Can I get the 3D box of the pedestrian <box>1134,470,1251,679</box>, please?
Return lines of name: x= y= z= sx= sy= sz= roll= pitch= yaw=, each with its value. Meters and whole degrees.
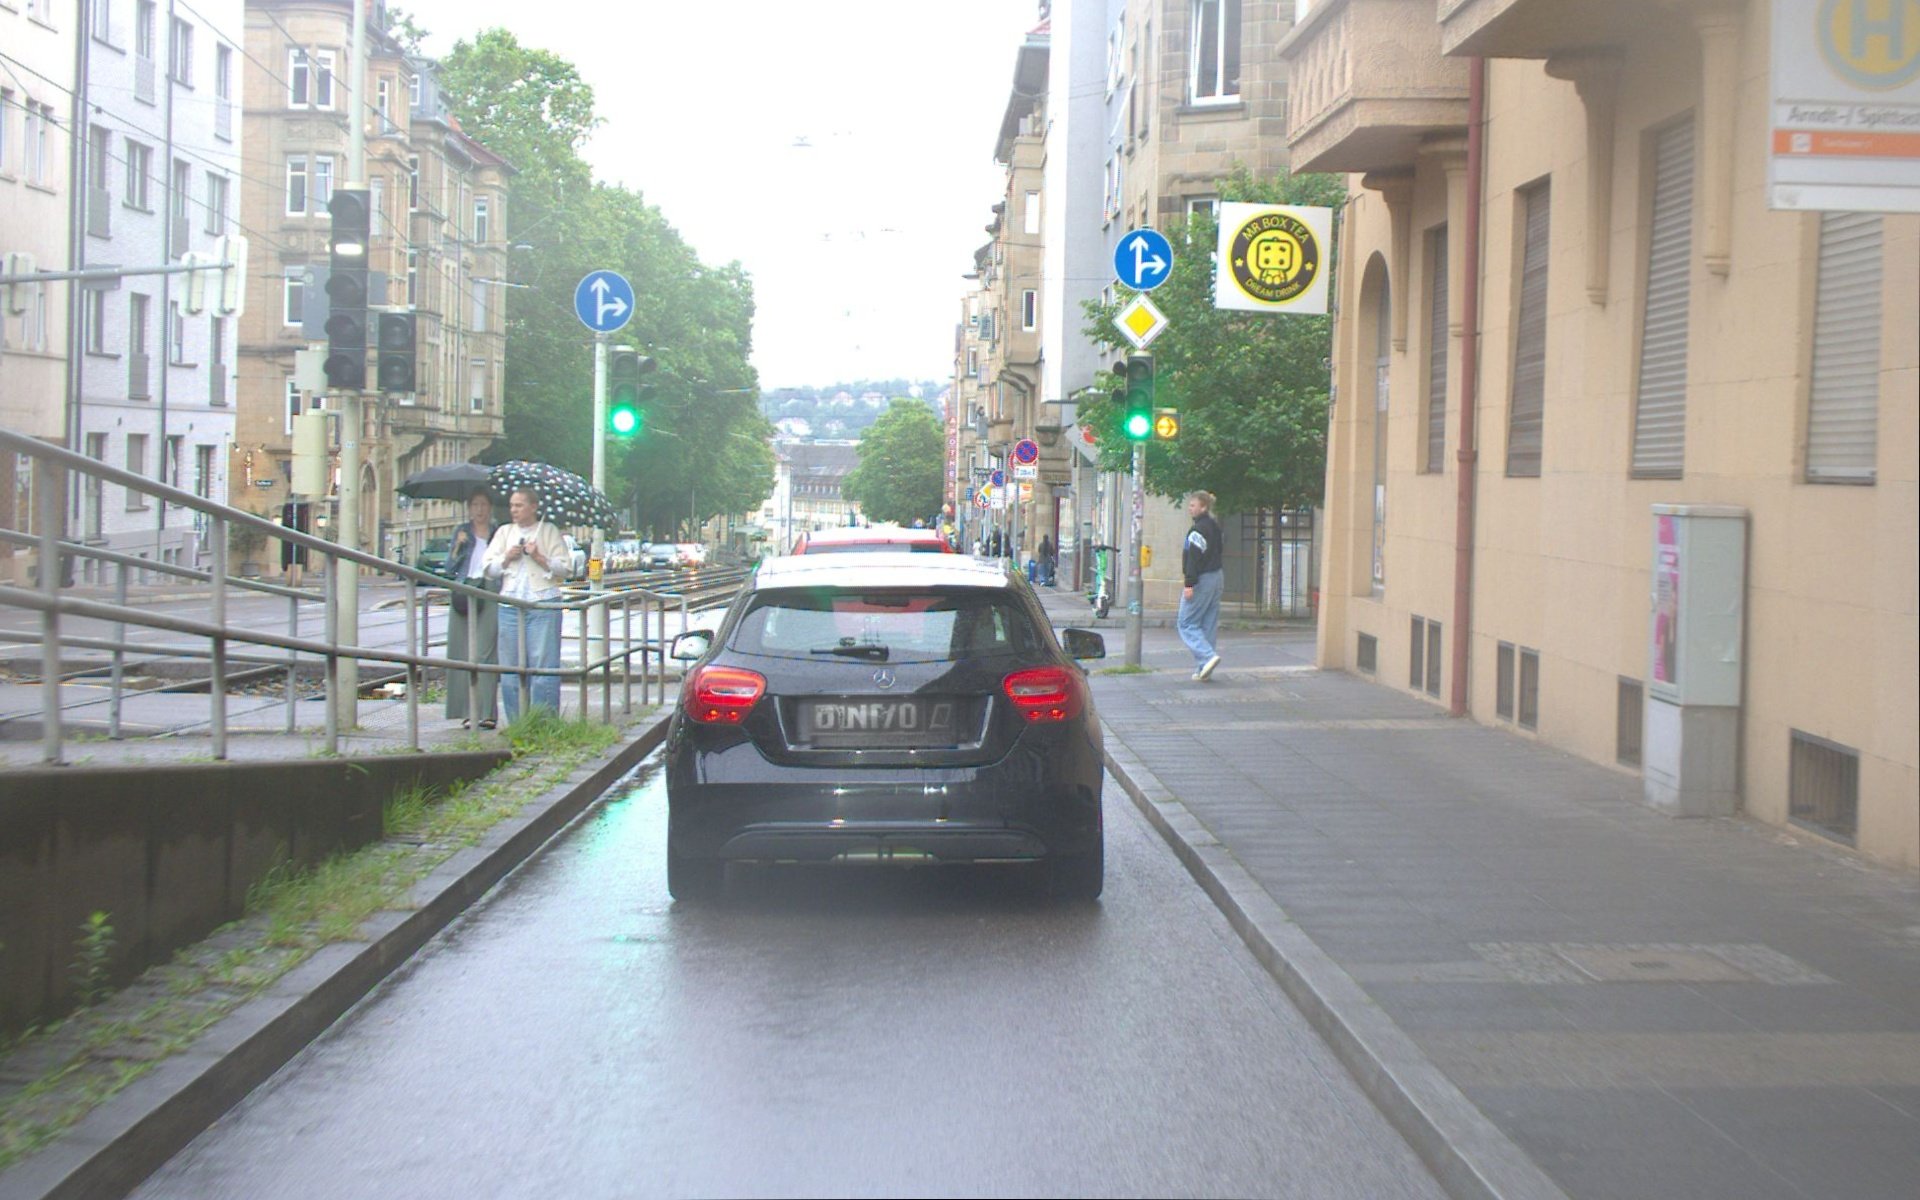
pedestrian: x=2.118 y=-0.235 z=31.279 sx=0.965 sy=1.834 sz=0.902 roll=-3 pitch=1 yaw=4

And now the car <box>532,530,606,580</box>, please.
car: x=-13.297 y=-1.504 z=117.091 sx=1.993 sy=1.622 sz=5.253 roll=0 pitch=0 yaw=-1

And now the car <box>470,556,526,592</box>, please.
car: x=-17.215 y=-0.990 z=128.252 sx=1.569 sy=1.312 sz=3.481 roll=0 pitch=1 yaw=1

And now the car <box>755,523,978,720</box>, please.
car: x=-0.708 y=0.127 z=27.772 sx=1.649 sy=1.447 sz=4.000 roll=1 pitch=1 yaw=0

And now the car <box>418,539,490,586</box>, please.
car: x=-16.624 y=-1.241 z=113.143 sx=1.722 sy=1.536 sz=3.934 roll=0 pitch=1 yaw=1

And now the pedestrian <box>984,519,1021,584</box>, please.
pedestrian: x=1.173 y=-1.324 z=94.114 sx=0.945 sy=1.763 sz=1.015 roll=0 pitch=1 yaw=-3

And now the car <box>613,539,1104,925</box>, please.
car: x=-0.360 y=0.474 z=15.238 sx=1.866 sy=1.447 sz=4.000 roll=1 pitch=1 yaw=1

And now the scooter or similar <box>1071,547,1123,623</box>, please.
scooter or similar: x=2.182 y=-0.249 z=54.876 sx=0.638 sy=1.206 sz=1.553 roll=0 pitch=1 yaw=-5

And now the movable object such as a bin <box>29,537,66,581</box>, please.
movable object such as a bin: x=-19.607 y=-0.880 z=73.873 sx=0.593 sy=0.908 sz=0.560 roll=4 pitch=1 yaw=-1

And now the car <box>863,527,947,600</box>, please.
car: x=-1.202 y=-0.805 z=75.269 sx=1.765 sy=1.553 sz=4.746 roll=0 pitch=1 yaw=-1

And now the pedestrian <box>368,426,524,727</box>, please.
pedestrian: x=-3.531 y=-0.166 z=23.692 sx=0.897 sy=2.007 sz=0.947 roll=1 pitch=1 yaw=-1

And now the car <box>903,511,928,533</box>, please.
car: x=-2.958 y=-5.135 z=227.016 sx=1.613 sy=1.313 sz=4.000 roll=2 pitch=1 yaw=-1

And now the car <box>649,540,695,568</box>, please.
car: x=-14.325 y=-2.298 z=171.295 sx=1.948 sy=1.392 sz=4.274 roll=-1 pitch=1 yaw=0

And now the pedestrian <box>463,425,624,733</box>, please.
pedestrian: x=-2.785 y=-0.144 z=23.082 sx=0.926 sy=2.007 sz=0.947 roll=1 pitch=1 yaw=-1

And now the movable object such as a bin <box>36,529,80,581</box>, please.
movable object such as a bin: x=-19.565 y=-0.970 z=74.583 sx=0.713 sy=1.070 sz=0.687 roll=4 pitch=1 yaw=-1
